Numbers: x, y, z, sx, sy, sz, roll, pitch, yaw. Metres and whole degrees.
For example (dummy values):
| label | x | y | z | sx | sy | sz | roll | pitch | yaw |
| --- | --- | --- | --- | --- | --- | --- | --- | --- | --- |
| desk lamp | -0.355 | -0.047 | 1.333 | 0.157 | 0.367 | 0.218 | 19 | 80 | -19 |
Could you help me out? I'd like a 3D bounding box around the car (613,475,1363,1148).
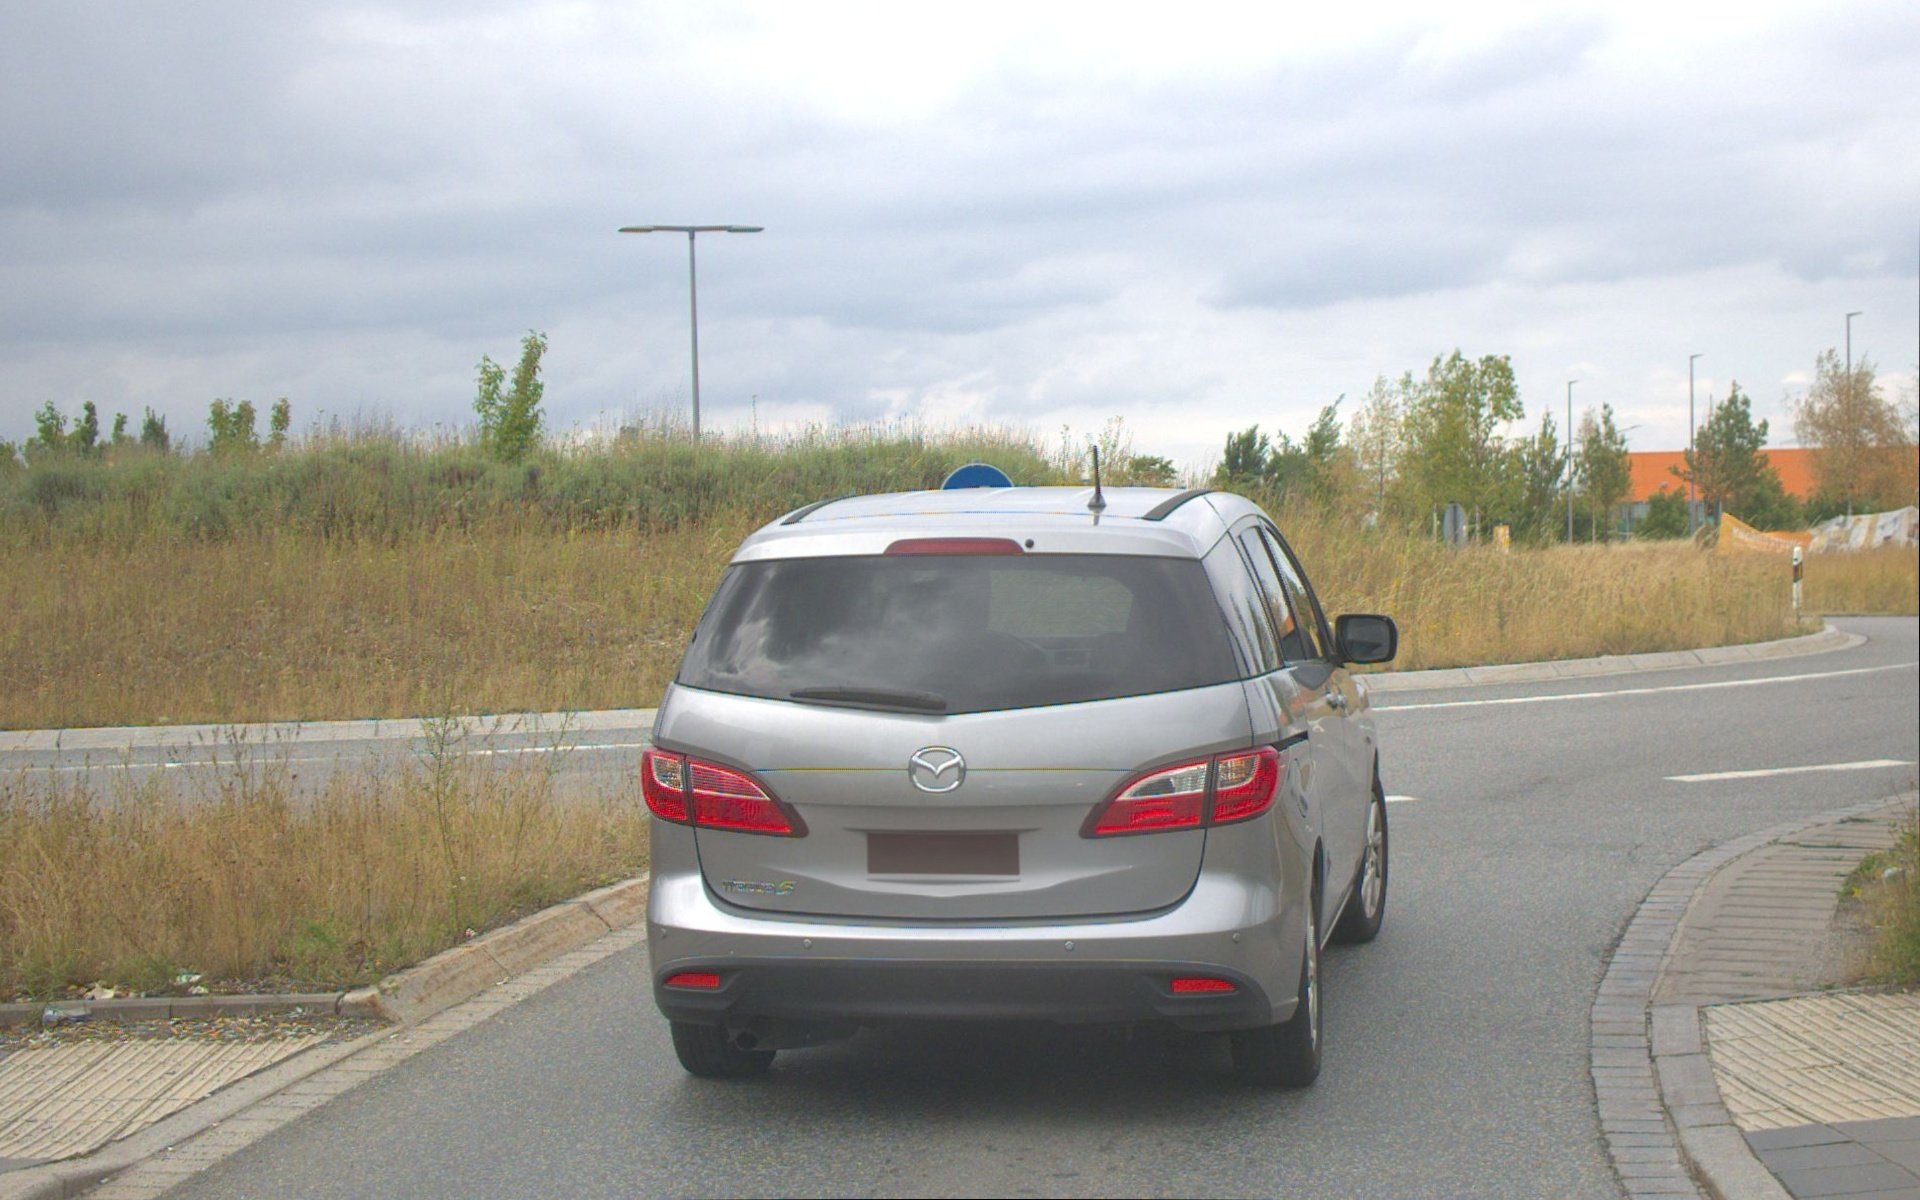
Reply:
| label | x | y | z | sx | sy | sz | roll | pitch | yaw |
| --- | --- | --- | --- | --- | --- | --- | --- | --- | --- |
| car | 0.286 | 0.433 | 10.343 | 1.738 | 1.593 | 3.997 | 0 | 2 | 8 |
